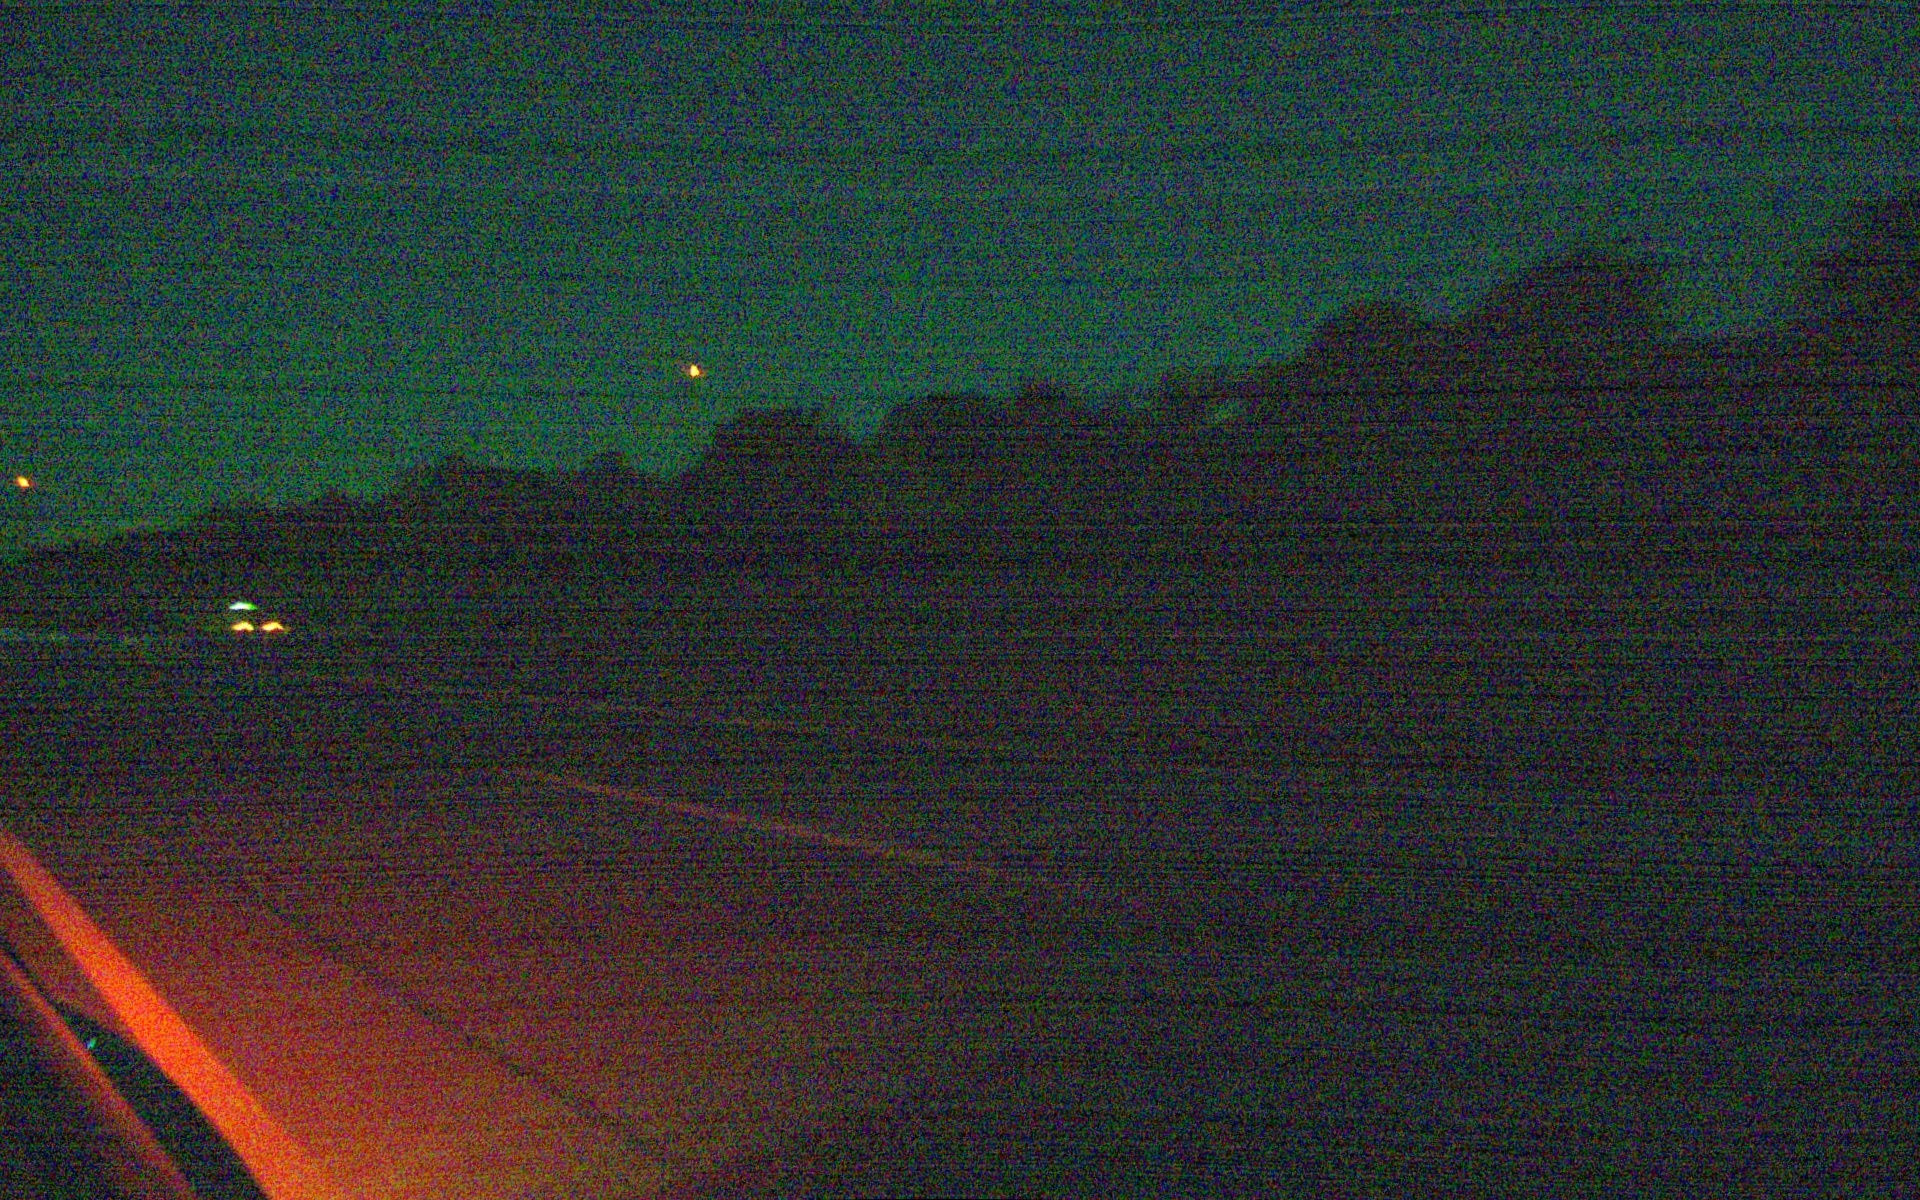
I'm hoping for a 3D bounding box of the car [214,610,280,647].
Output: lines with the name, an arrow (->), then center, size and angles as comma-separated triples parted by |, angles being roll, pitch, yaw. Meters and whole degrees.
car -> -51.782, 2.012, 73.425 | 6.666, 2.471, 2.367 | -1, 0, 41
